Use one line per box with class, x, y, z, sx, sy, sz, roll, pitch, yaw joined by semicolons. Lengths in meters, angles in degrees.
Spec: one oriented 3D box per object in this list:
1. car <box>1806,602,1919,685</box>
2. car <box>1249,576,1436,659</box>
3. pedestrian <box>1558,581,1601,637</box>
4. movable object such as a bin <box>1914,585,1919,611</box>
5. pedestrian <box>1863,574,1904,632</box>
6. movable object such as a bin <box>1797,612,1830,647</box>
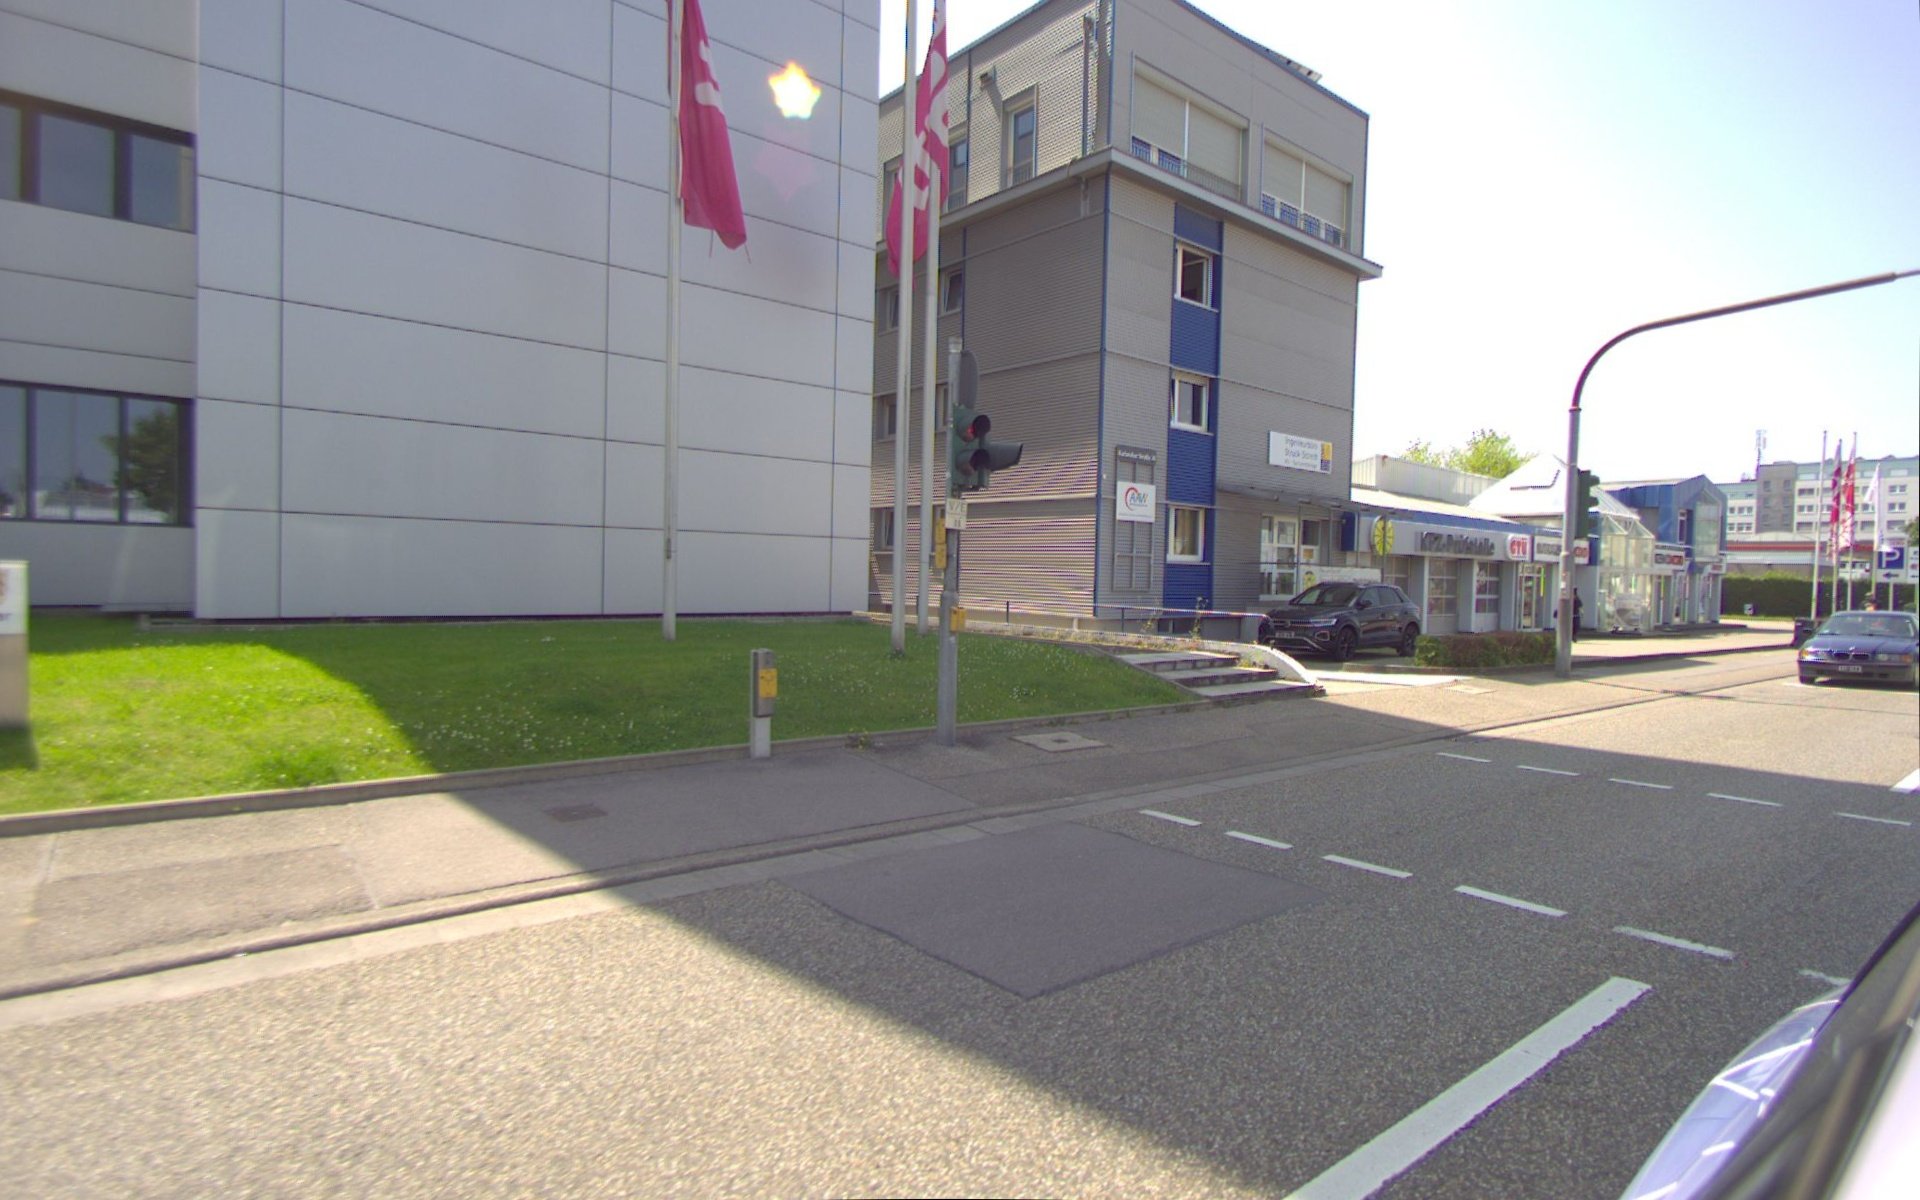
car;17.216;0.733;18.838;3.690;1.356;1.631;0;1;-40
car;7.989;0.297;20.991;4.122;1.550;1.848;-1;1;-39
pedestrian;18.806;0.256;30.726;0.837;1.647;0.813;1;1;-36
movable object such as a bin;55.904;-0.121;58.309;1.462;1.488;1.133;0;2;-39
pedestrian;30.324;0.089;33.239;0.919;1.869;0.787;0;2;-37
movable object such as a bin;24.613;0.846;29.192;0.641;0.930;0.552;0;5;-39
